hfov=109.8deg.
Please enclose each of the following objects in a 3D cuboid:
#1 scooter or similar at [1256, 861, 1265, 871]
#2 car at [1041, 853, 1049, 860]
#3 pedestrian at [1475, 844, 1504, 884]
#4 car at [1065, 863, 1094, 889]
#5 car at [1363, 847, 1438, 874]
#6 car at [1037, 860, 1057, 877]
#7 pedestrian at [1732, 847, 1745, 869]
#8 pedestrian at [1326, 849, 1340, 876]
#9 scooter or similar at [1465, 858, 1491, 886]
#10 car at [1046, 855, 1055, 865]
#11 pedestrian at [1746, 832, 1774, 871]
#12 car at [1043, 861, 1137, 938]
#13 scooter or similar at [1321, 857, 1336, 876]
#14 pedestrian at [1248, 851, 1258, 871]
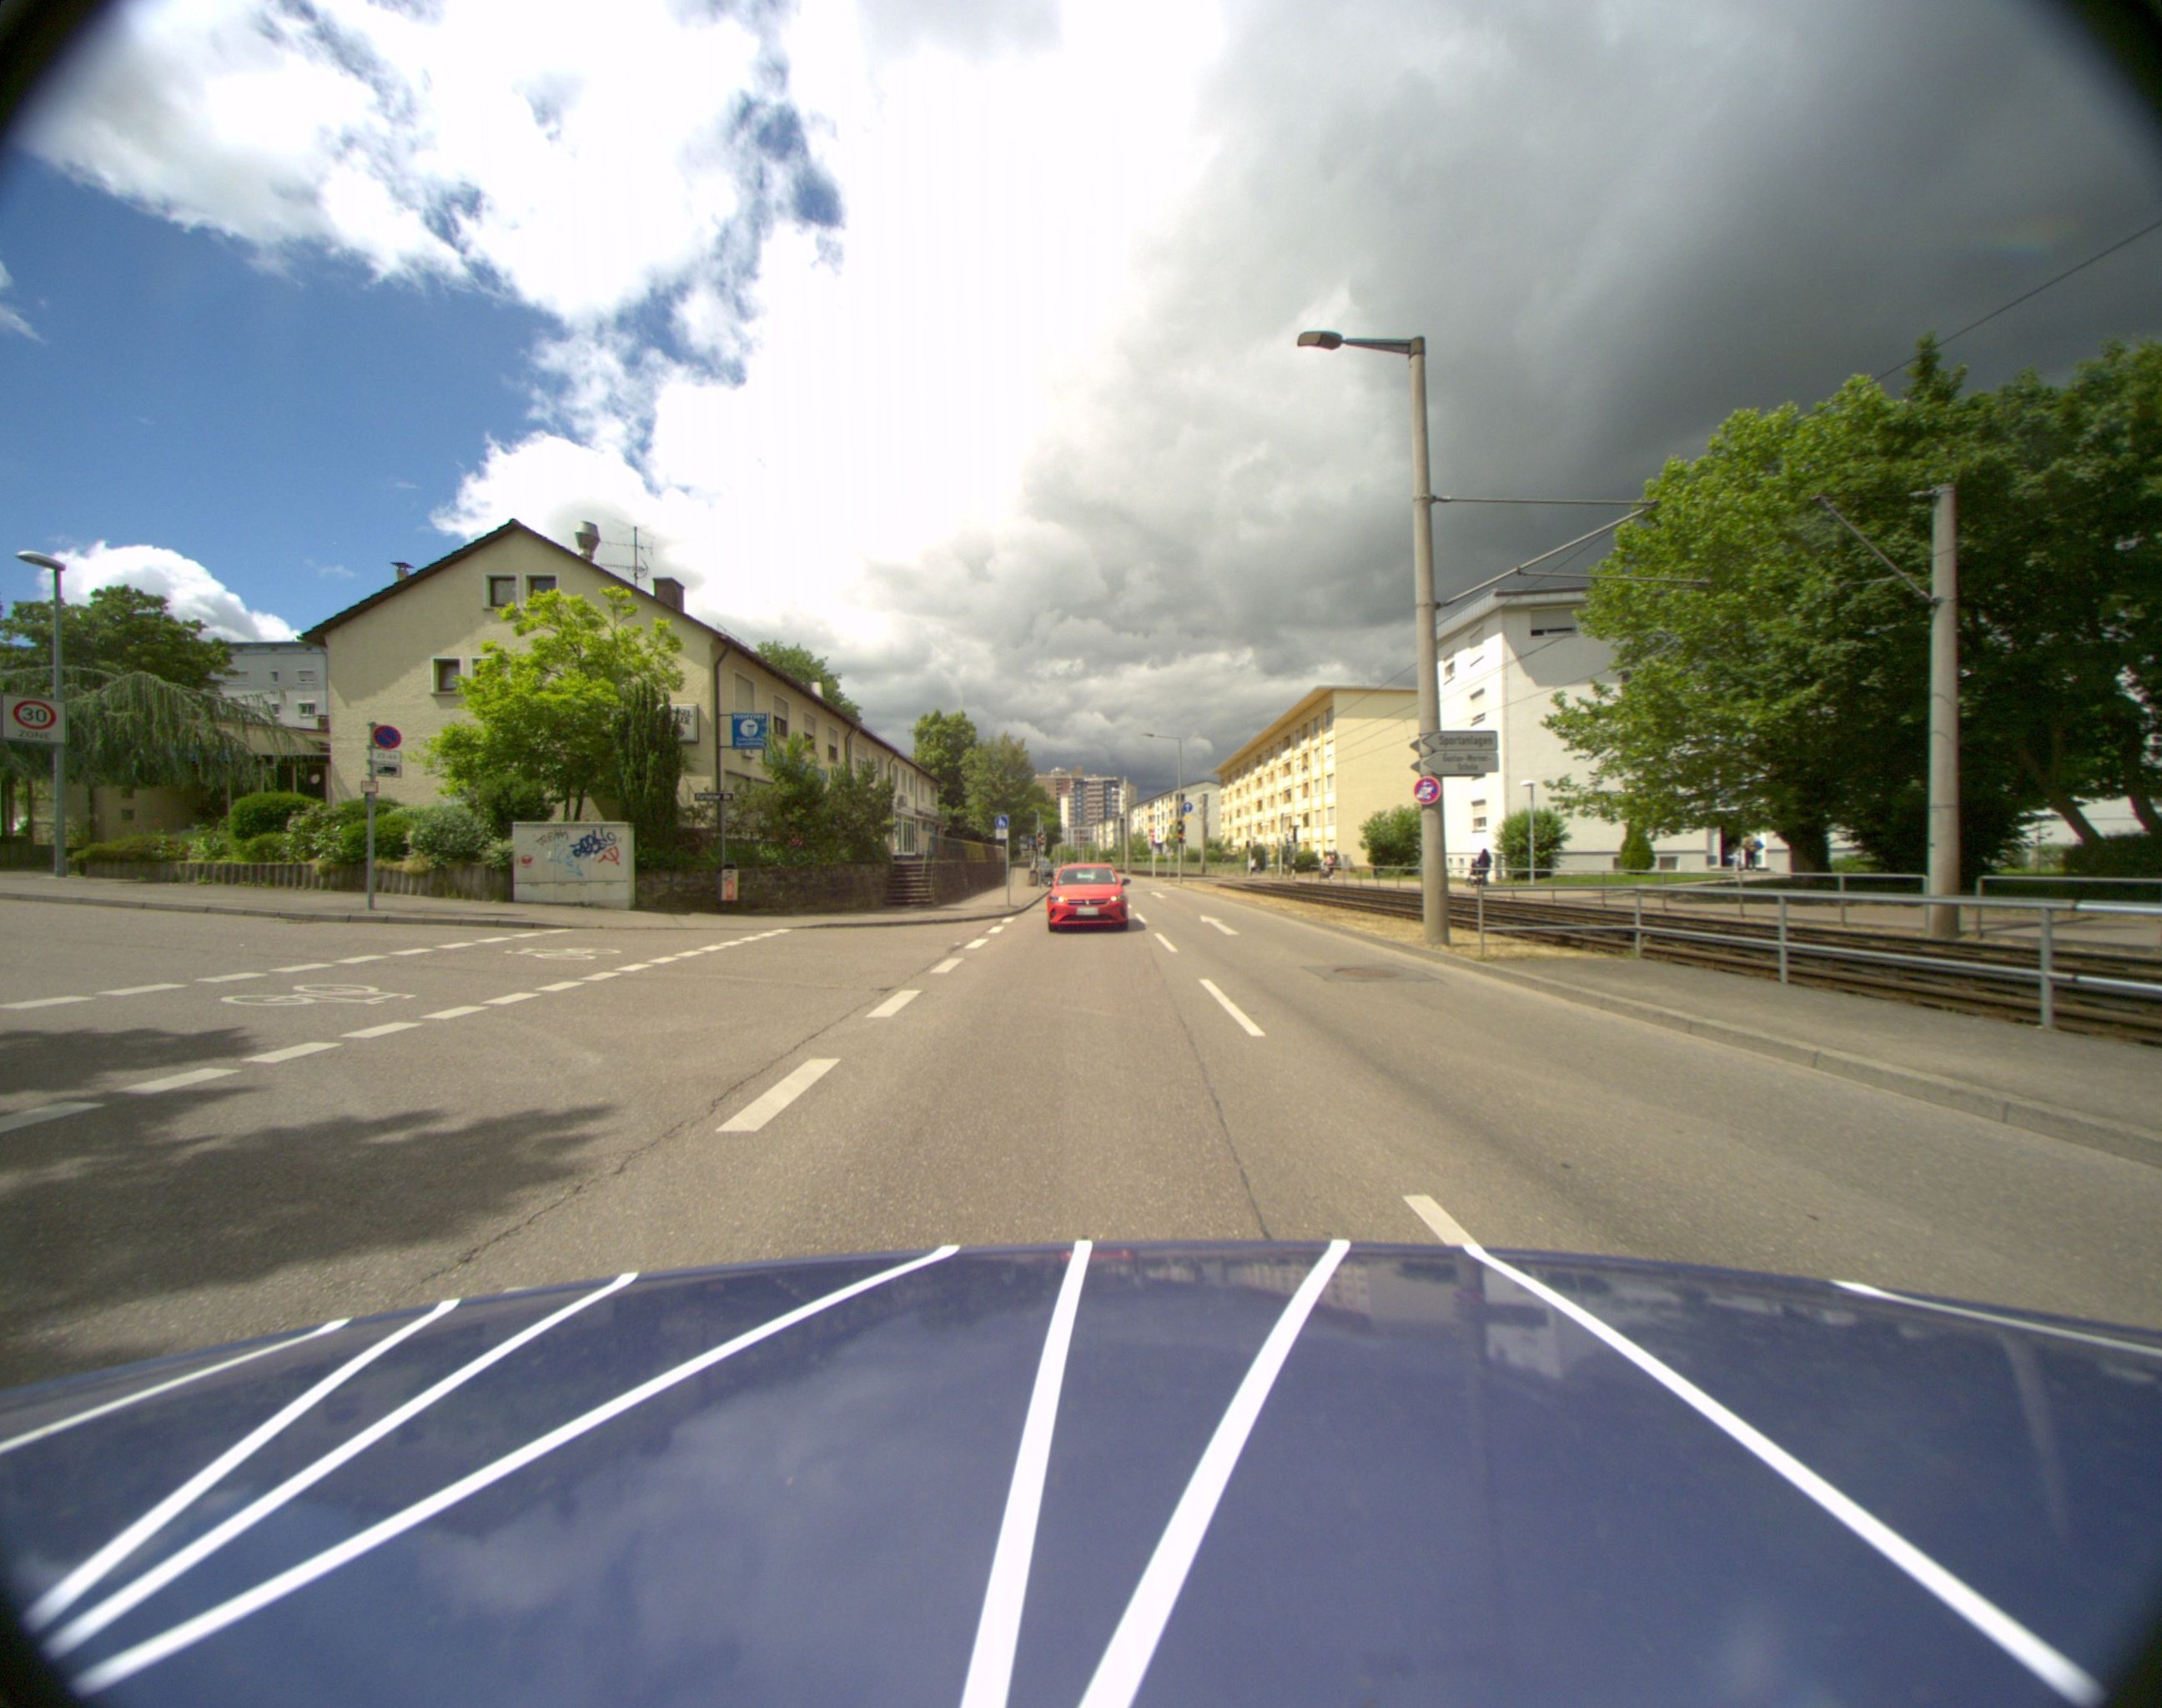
[{"bbox_3d":[14.705,0.973,62.290,0.534,0.769,0.666,-3,0,-1],"label":"scooter or similar"},{"bbox_3d":[-10.721,0.835,227.080,2.237,2.050,4.360,-1,0,-4],"label":"car"},{"bbox_3d":[16.042,0.375,29.847,0.614,1.531,0.874,-2,1,-1],"label":"pedestrian"},{"bbox_3d":[-0.119,1.285,45.639,1.499,1.477,3.519,-1,0,-4],"label":"car"},{"bbox_3d":[21.442,0.423,51.043,4.286,1.719,1.811,-1,0,6],"label":"car"},{"bbox_3d":[-3.201,1.312,70.268,1.760,1.570,4.020,-1,0,-4],"label":"car"},{"bbox_3d":[27.371,0.165,31.649,0.330,0.878,0.256,-3,5,11],"label":"pedestrian"},{"bbox_3d":[15.615,0.529,47.089,0.647,1.683,0.679,-2,1,0],"label":"pedestrian"},{"bbox_3d":[16.038,0.720,30.710,0.606,1.108,0.821,-2,0,-2],"label":"scooter or similar"},{"bbox_3d":[-7.761,1.605,194.880,2.237,2.460,5.085,-1,0,-4],"label":"car"},{"bbox_3d":[27.856,-0.107,31.178,0.685,1.534,0.514,-3,5,6],"label":"pedestrian"},{"bbox_3d":[0.080,0.938,17.428,1.784,1.433,4.130,-3,0,-4],"label":"car"},{"bbox_3d":[15.611,0.785,47.890,0.609,1.156,0.892,-2,0,0],"label":"scooter or similar"},{"bbox_3d":[14.082,0.586,62.276,0.605,1.598,0.773,-3,1,-1],"label":"pedestrian"}]
